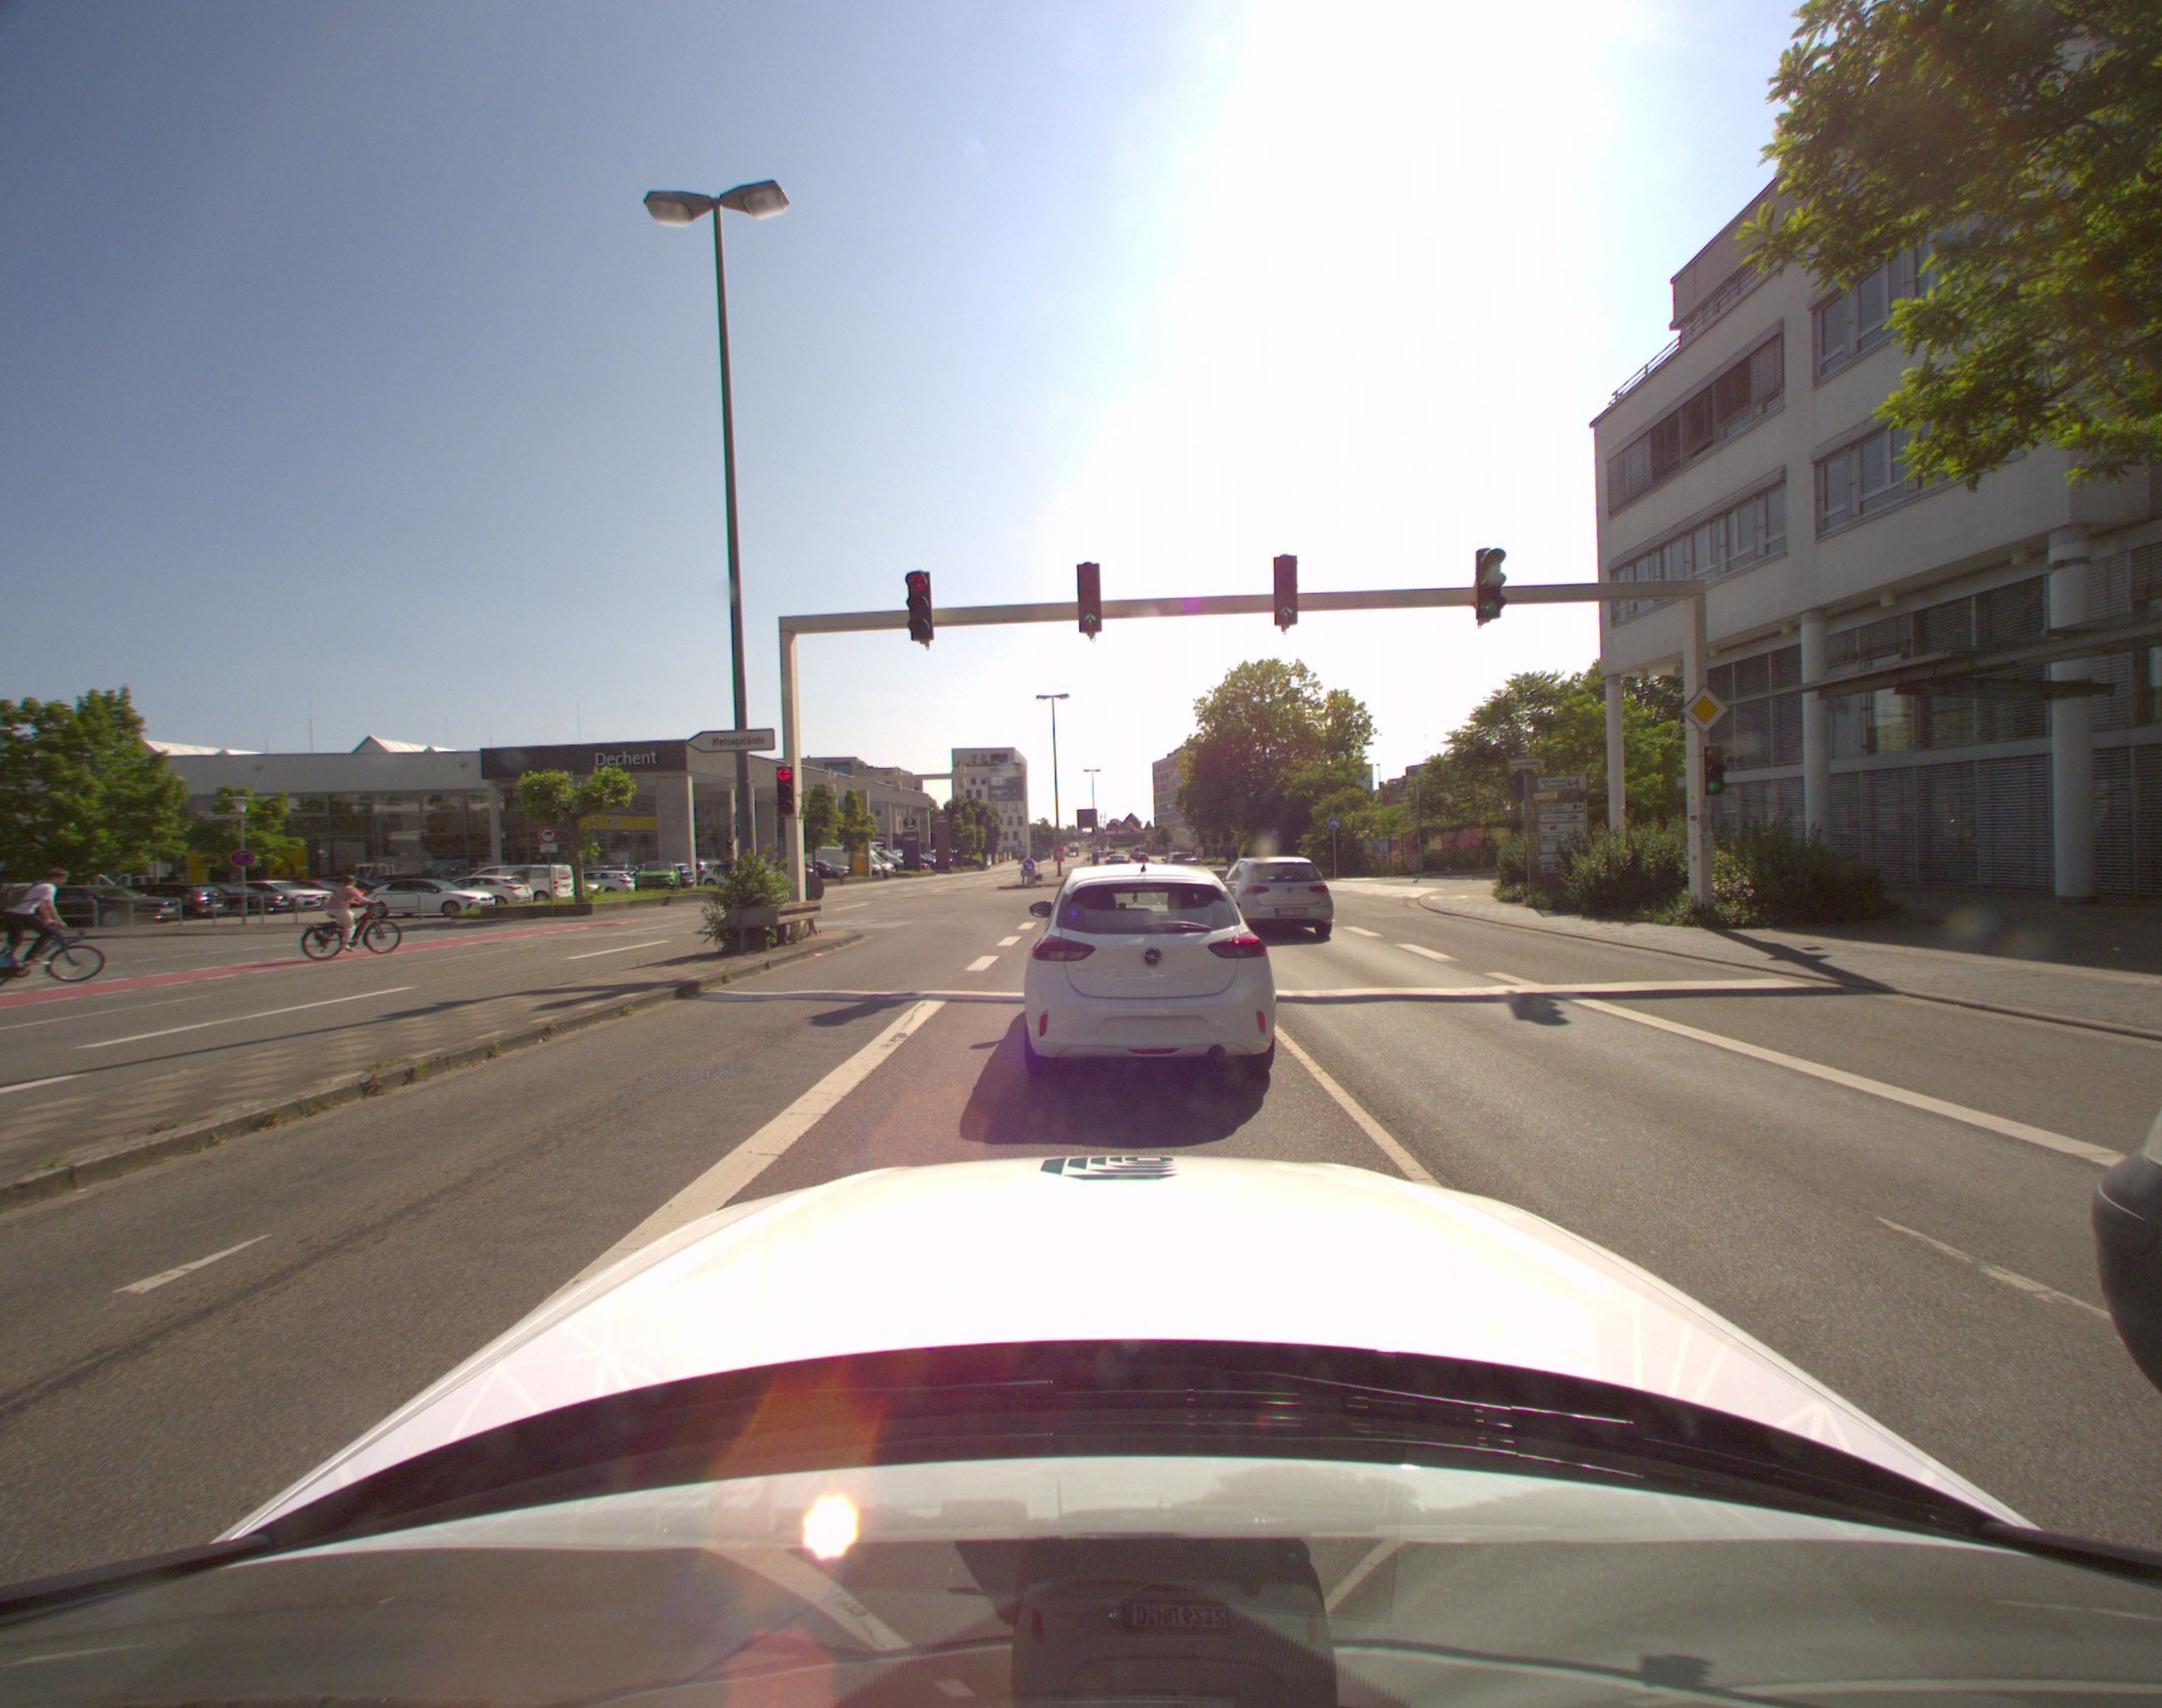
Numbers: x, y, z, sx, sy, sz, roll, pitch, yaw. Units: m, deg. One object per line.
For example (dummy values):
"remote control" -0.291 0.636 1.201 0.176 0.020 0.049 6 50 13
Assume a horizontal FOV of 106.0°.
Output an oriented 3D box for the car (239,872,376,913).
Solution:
"car" -36.921 1.791 38.964 4.351 1.696 1.996 -2 0 -6

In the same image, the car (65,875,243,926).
"car" -35.875 1.756 31.615 4.348 1.696 1.997 -2 0 -4

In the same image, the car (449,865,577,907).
"car" -26.240 1.438 37.776 4.352 1.696 1.995 -2 0 -7

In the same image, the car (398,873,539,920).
"car" -25.959 1.773 34.645 4.348 1.696 1.997 -2 0 -4

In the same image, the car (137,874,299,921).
"car" -35.793 1.787 33.881 4.348 1.696 1.997 -2 0 -4

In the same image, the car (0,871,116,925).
"car" -42.919 1.811 33.367 3.983 2.013 1.995 -2 0 -7

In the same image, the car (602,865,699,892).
"car" -24.362 1.375 46.203 4.351 1.268 1.996 -3 -2 -6

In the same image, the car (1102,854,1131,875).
"car" 2.586 0.783 59.984 1.987 1.447 4.371 -1 0 0

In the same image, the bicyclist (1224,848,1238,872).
"bicyclist" 11.672 0.473 63.374 0.875 1.772 0.864 -2 0 2

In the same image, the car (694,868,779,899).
"car" -19.557 1.650 46.419 3.980 1.599 1.997 -2 0 -5

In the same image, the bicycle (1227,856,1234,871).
"bicycle" 11.672 0.735 63.385 0.371 1.216 1.154 0 0 2

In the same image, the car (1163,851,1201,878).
"car" 6.287 0.622 51.111 1.986 1.551 4.435 -2 0 2

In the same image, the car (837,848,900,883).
"car" -17.651 0.938 67.774 4.468 2.684 2.135 -2 0 10

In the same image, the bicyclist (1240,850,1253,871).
"bicyclist" 12.724 0.503 62.601 0.687 1.643 0.775 -2 0 -6

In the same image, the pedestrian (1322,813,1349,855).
"pedestrian" 12.677 -0.988 40.591 1.023 2.013 1.039 -2 0 2

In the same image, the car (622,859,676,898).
"car" -20.965 1.218 39.453 1.915 1.733 3.259 -2 -1 -35

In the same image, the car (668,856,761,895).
"car" -18.949 1.095 42.259 3.858 1.837 1.999 -2 0 -1

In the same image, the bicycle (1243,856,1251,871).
"bicycle" 12.774 0.751 62.576 0.372 1.147 1.034 0 -1 0

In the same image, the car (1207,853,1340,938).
"car" 3.660 0.737 16.216 1.800 1.429 4.002 -2 -1 2

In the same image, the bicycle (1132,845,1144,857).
"bicycle" 10.854 -0.509 154.794 1.986 2.157 4.002 -2 0 2

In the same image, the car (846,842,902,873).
"car" -18.544 0.281 73.171 4.333 2.601 2.004 -2 0 7

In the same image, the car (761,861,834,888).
"car" -19.606 1.388 56.447 4.343 1.696 1.999 -2 0 -1

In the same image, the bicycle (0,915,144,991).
"bicycle" -18.036 1.713 14.148 0.762 1.116 2.170 -2 0 14

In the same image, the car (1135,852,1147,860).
"car" 9.938 0.344 134.623 1.799 1.386 4.002 0 -1 2

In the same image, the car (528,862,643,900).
"car" -24.597 1.317 40.580 4.353 1.696 1.995 -2 0 -8

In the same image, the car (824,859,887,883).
"car" -18.076 1.349 65.386 4.335 1.696 2.003 -2 0 5

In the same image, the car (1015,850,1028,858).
"car" -10.366 -0.011 142.122 1.799 1.386 4.002 0 -1 2

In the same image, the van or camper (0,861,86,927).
"van or camper" -41.723 1.562 30.999 4.710 2.400 1.995 -2 0 -7

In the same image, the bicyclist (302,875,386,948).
"bicyclist" -15.672 1.201 17.345 0.764 1.460 1.029 -2 0 6

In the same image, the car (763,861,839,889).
"car" -18.579 1.358 54.188 4.343 1.696 2.000 -2 0 -1

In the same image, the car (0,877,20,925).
"car" -40.403 1.749 27.980 4.370 1.696 1.987 -2 0 -19

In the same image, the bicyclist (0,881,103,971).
"bicyclist" -18.050 1.226 14.182 0.763 1.460 1.030 -2 0 12

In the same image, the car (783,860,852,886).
"car" -19.279 1.372 59.642 4.343 1.696 1.999 -2 0 -1

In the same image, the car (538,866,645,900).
"car" -25.840 1.494 43.120 4.351 1.591 1.996 -2 0 -6

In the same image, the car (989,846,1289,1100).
"car" 0.425 0.726 6.947 1.772 1.494 4.002 -2 0 2

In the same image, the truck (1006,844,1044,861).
"truck" -13.644 -0.376 198.827 9.056 3.834 3.072 -2 0 -9

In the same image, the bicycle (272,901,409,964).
"bicycle" -15.655 1.631 17.316 0.764 1.116 2.166 -2 0 6

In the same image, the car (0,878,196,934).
"car" -34.981 1.810 29.077 4.348 1.696 1.997 -2 0 -4

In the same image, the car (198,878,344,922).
"car" -36.343 2.051 36.634 4.348 1.696 1.997 -2 0 -4

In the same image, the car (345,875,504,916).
"car" -25.214 1.581 31.397 4.348 1.300 1.997 -2 0 -4

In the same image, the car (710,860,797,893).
"car" -19.584 1.332 48.840 4.284 1.765 1.999 -2 0 -1
